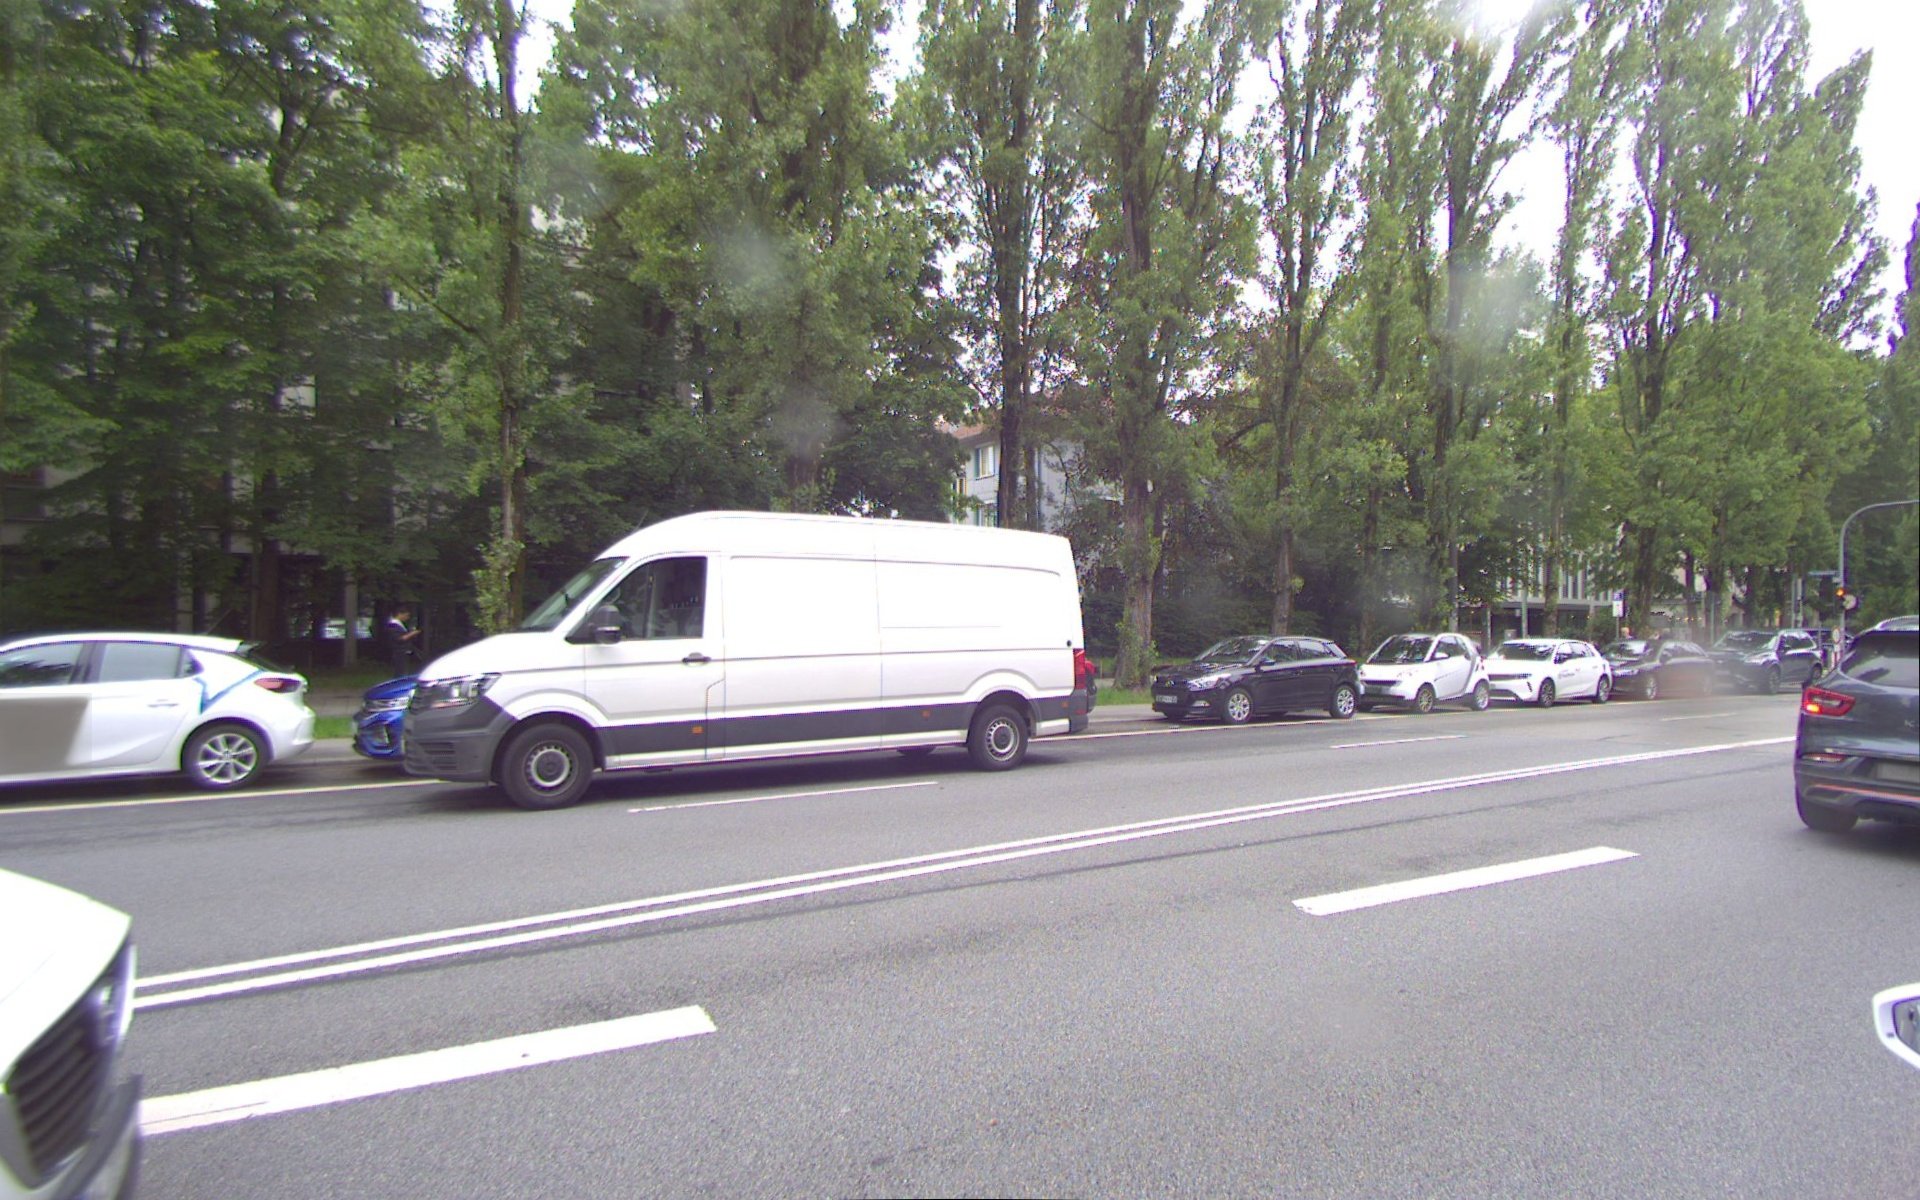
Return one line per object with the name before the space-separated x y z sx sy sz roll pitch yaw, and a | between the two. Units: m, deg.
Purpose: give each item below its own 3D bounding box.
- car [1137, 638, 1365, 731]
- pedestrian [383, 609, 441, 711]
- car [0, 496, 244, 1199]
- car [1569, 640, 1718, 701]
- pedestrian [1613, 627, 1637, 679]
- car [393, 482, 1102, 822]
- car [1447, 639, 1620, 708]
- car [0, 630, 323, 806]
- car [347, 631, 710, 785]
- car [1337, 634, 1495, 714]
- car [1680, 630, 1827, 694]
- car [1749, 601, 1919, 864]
car | 5.079 1.411 17.424 3.805 1.444 1.594 1 -4 -30
pedestrian | -9.972 1.075 18.287 0.879 1.795 0.733 1 0 -30
car | -3.236 0.640 0.929 3.960 1.545 1.897 1 -1 -29
car | 17.064 1.707 25.016 4.123 1.407 1.614 1 -4 -34
pedestrian | 19.982 1.598 30.185 0.390 1.548 0.463 1 -1 -30
car | -1.853 0.493 10.173 6.683 2.515 2.216 1 -3 -32
car | 12.704 1.576 22.186 4.123 1.407 1.614 1 -4 -34
car | -8.348 1.037 9.209 4.187 1.471 1.761 1 -4 -33
car | -4.811 1.122 11.309 3.547 1.470 1.700 1 -4 -33
car | 9.040 1.436 19.885 2.932 1.466 1.420 1 -4 -32
car | 22.308 1.711 28.192 4.646 1.675 1.838 1 -4 -34
car | 7.710 0.863 7.206 4.136 1.607 1.826 1 0 -30
